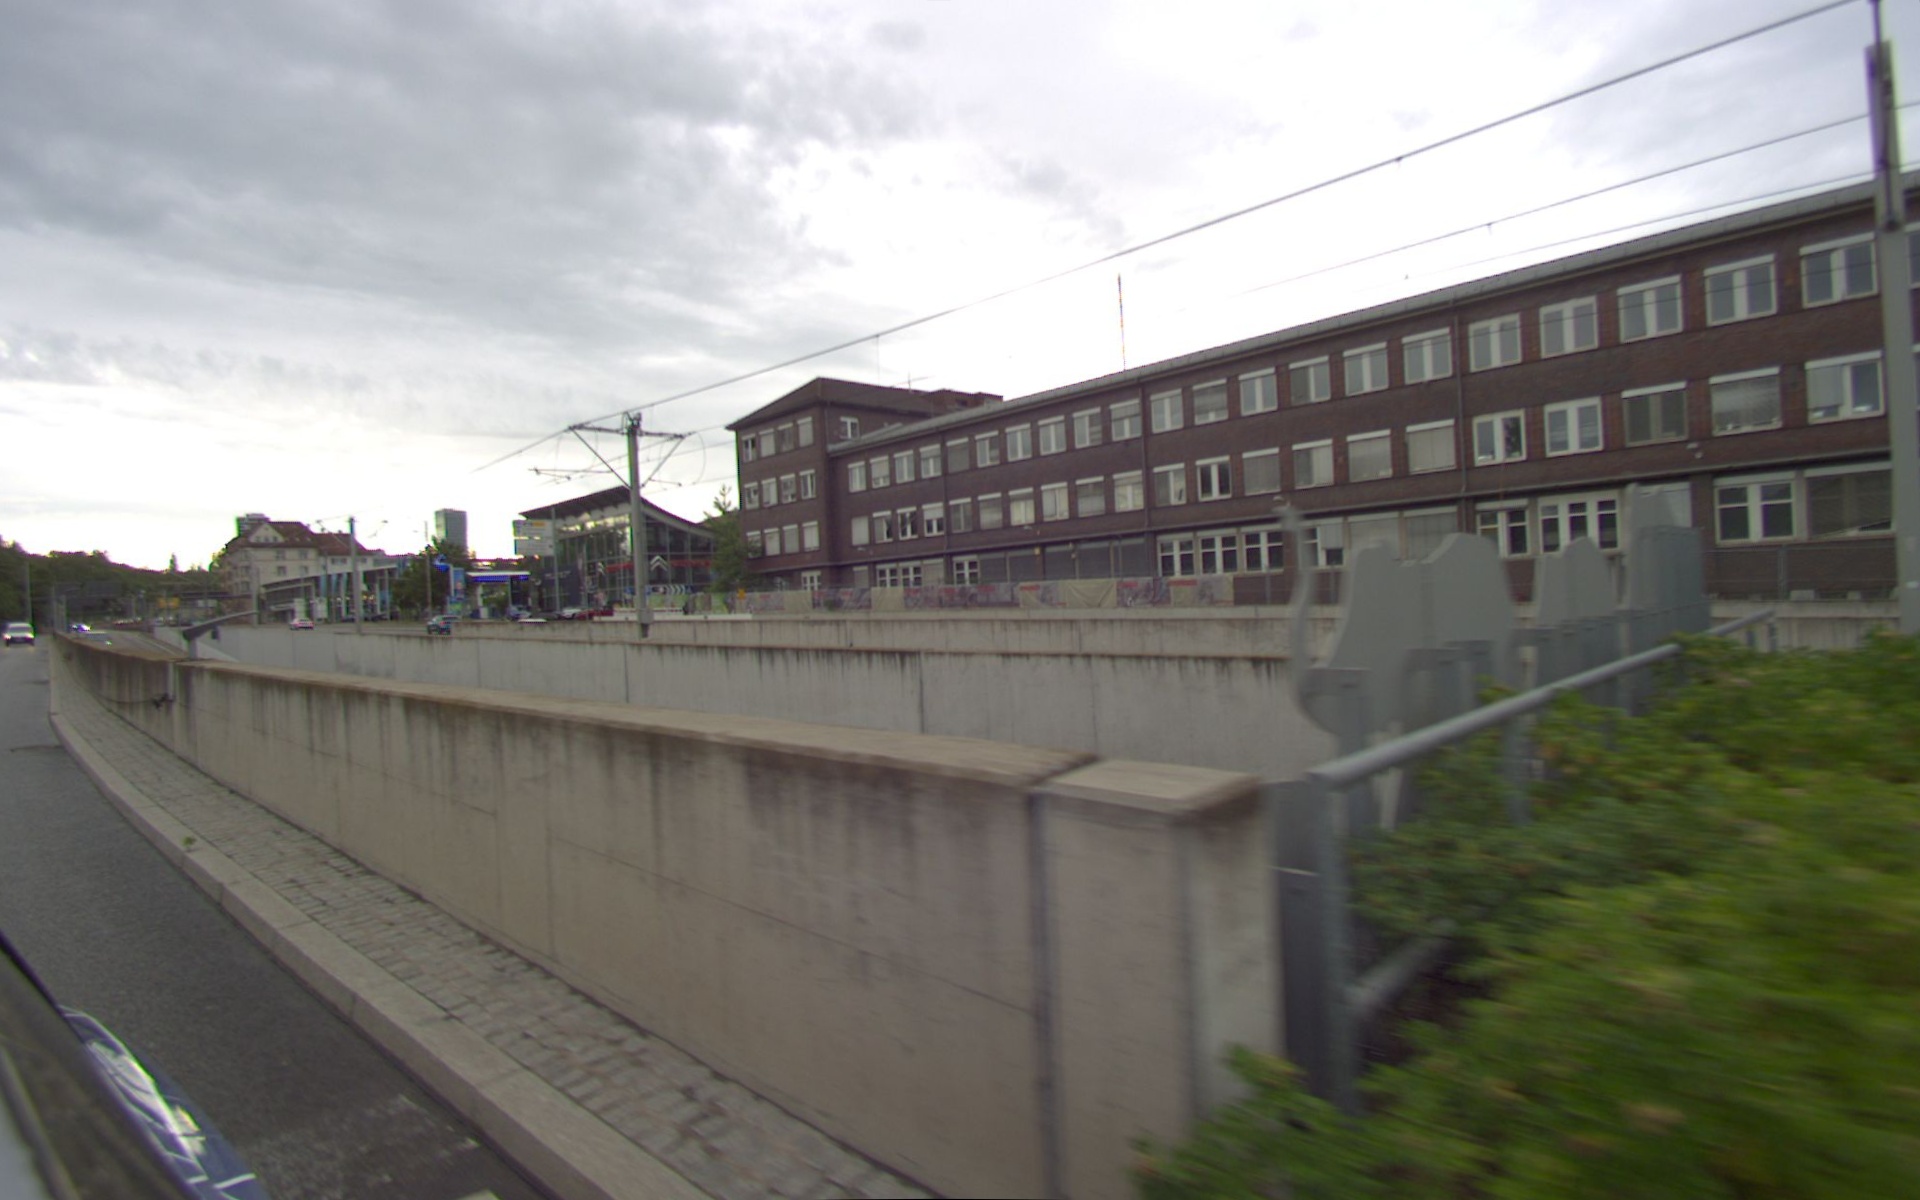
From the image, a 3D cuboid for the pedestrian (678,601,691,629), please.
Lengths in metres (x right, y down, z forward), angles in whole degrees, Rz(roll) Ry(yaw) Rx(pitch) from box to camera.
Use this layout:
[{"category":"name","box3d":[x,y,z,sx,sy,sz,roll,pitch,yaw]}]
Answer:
[{"category":"pedestrian","box3d":[-20.213,1.069,74.253,0.722,2.029,0.578,-1,-1,10]}]

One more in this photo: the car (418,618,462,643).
[{"category":"car","box3d":[-42.481,2.489,82.678,4.001,2.029,1.971,-2,-1,44]}]

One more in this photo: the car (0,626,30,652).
[{"category":"car","box3d":[-76.384,3.157,81.700,1.970,2.029,4.004,0,-1,-43]}]

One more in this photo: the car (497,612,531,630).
[{"category":"car","box3d":[-47.011,2.203,106.636,1.971,1.785,4.003,-2,0,-44]}]

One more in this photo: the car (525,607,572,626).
[{"category":"car","box3d":[-42.392,1.705,104.294,3.940,1.785,2.002,-2,0,-43]}]

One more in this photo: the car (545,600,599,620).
[{"category":"car","box3d":[-37.607,0.947,98.150,4.511,1.773,2.002,-2,0,-44]}]

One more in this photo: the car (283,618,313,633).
[{"category":"car","box3d":[-81.072,3.103,123.931,2.089,1.729,4.582,-2,0,-45]}]

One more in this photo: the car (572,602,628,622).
[{"category":"car","box3d":[-33.683,1.117,94.662,4.511,1.773,2.002,-2,0,-44]}]

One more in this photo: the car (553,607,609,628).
[{"category":"car","box3d":[-35.957,1.650,96.117,4.511,1.773,2.002,-2,0,-44]}]
